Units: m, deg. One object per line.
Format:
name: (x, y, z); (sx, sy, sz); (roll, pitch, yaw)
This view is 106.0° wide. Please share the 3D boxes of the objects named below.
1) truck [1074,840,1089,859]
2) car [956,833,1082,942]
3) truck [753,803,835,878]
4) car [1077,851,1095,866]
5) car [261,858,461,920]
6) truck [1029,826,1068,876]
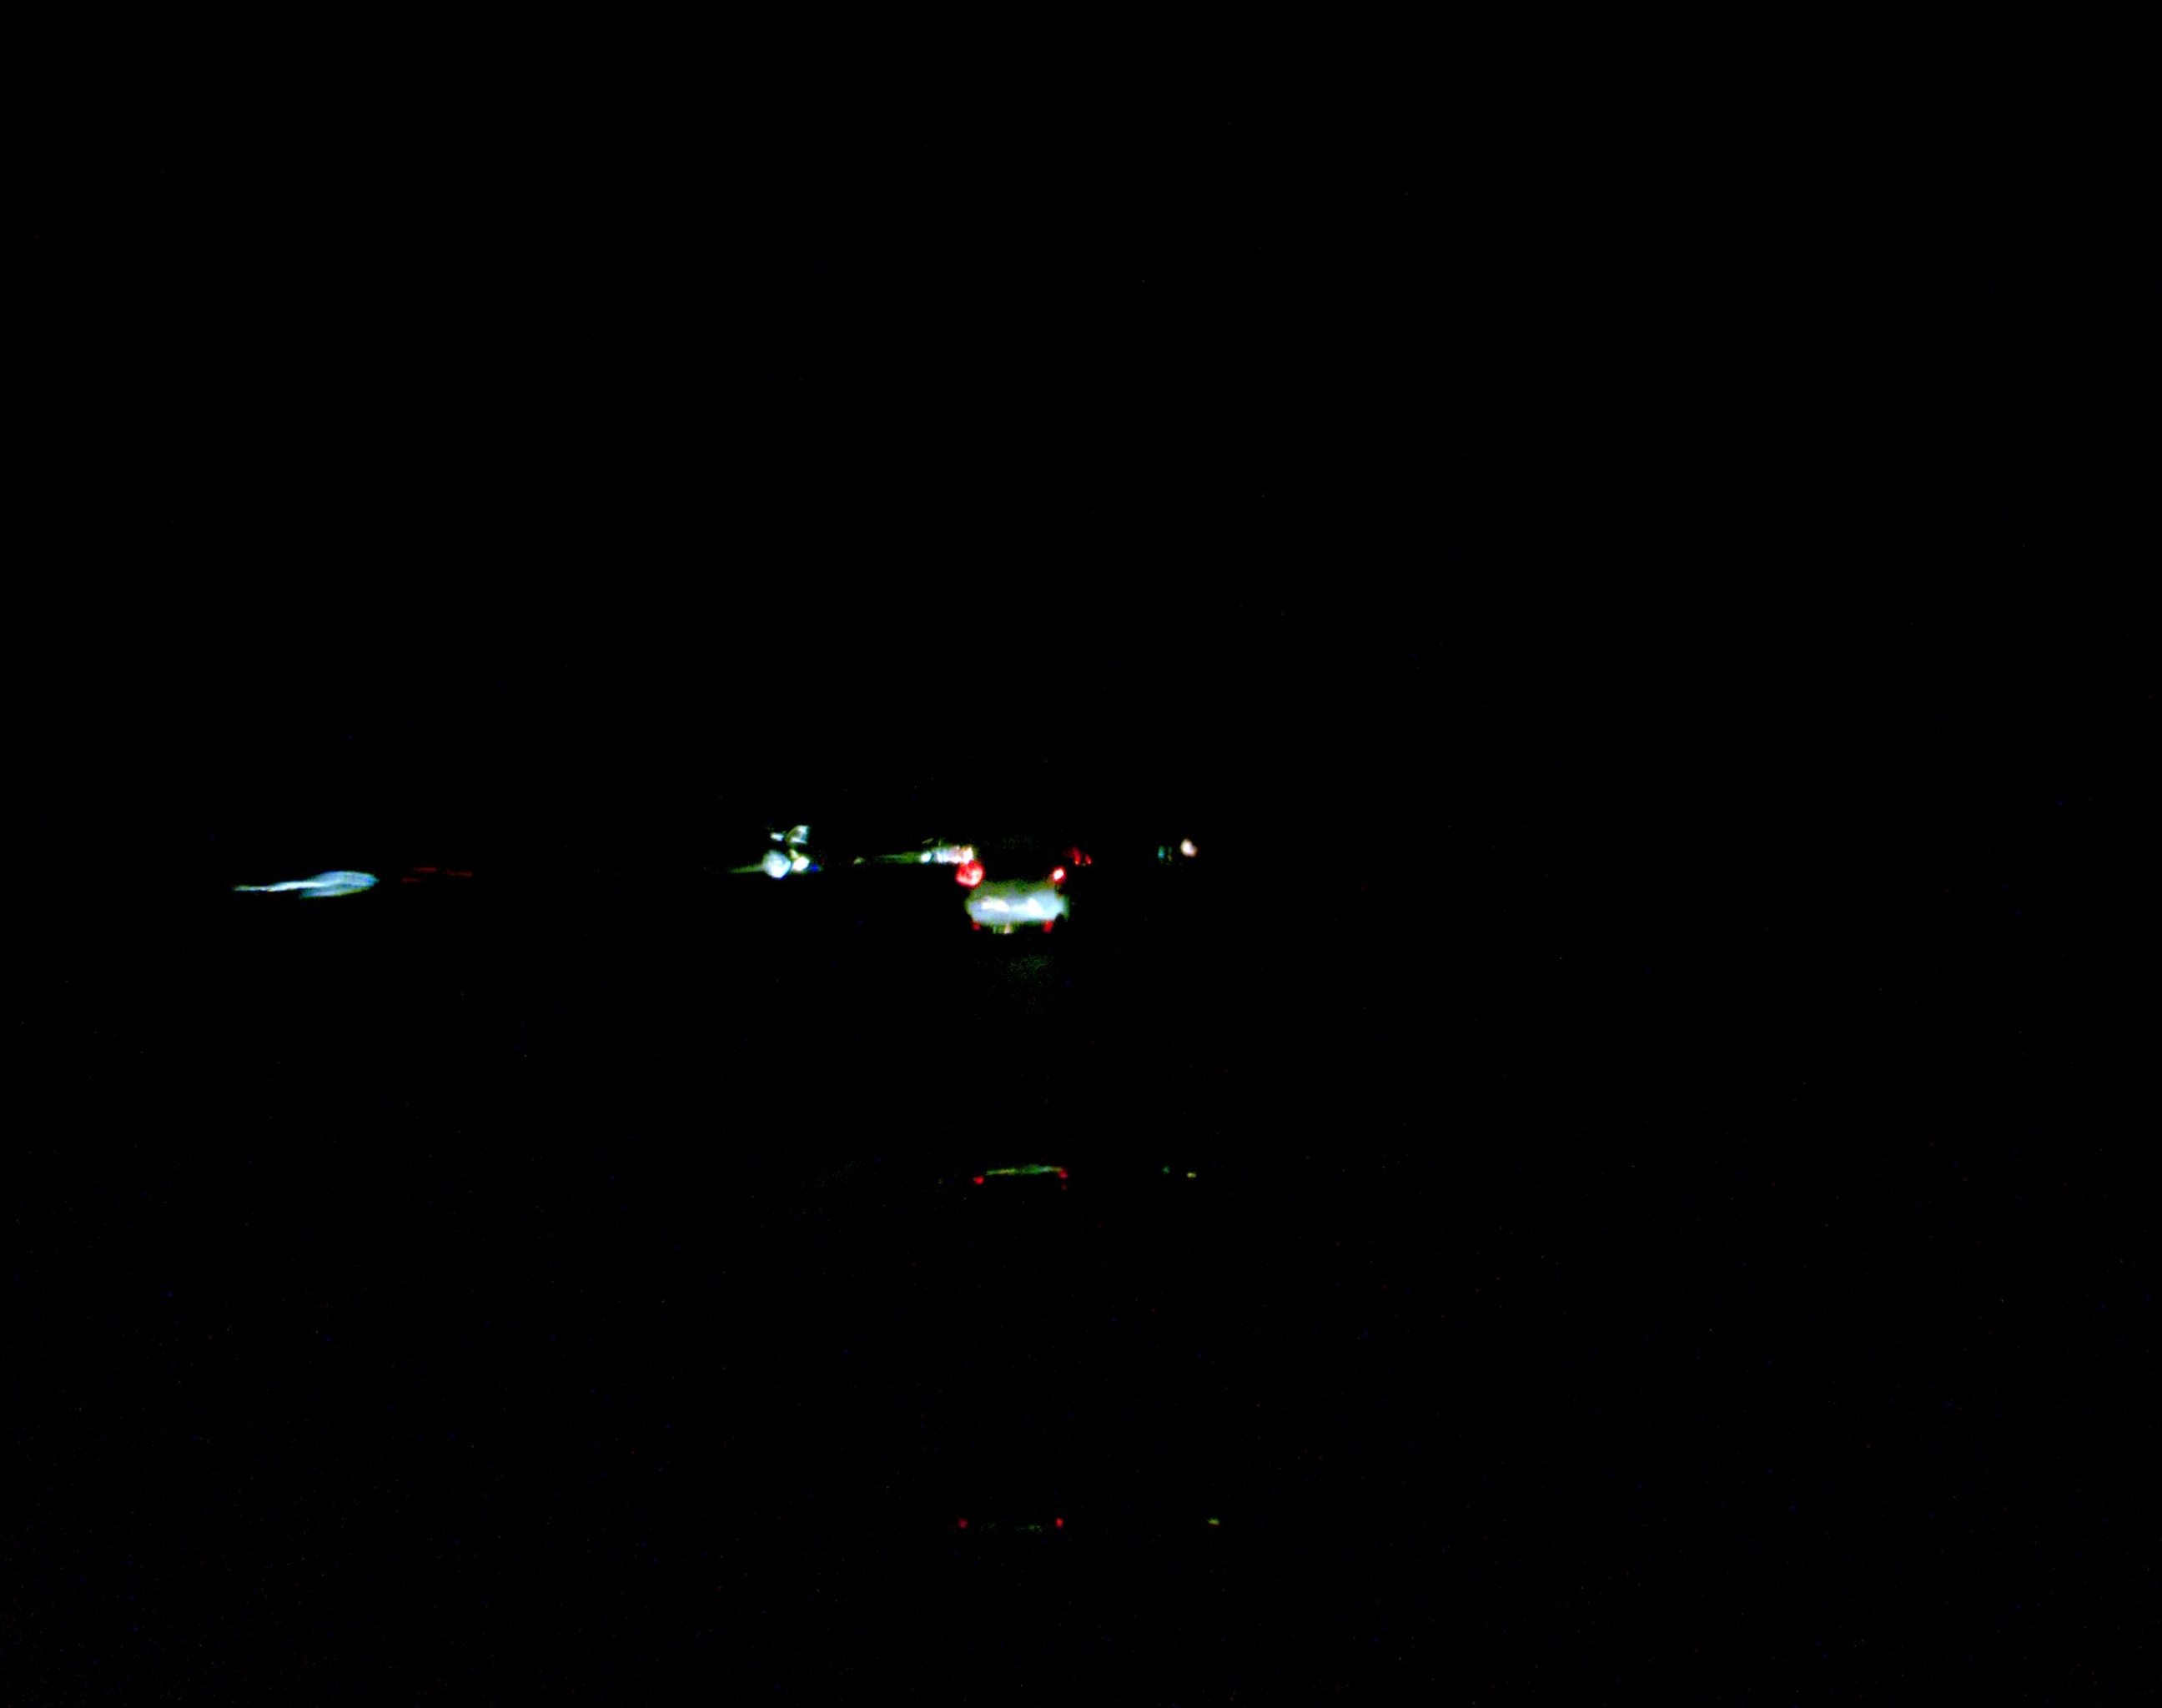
truck: (0.181, -1.076, 217.200); (3.812, 4.915, 11.601); (0, 0, -1)
car: (-1.020, 0.569, 16.028); (1.946, 1.792, 5.125); (0, 0, 1)
truck: (-24.429, -1.075, 69.807); (4.152, 6.128, 7.347); (0, 0, 2)
car: (0.525, 0.504, 93.698); (1.988, 1.707, 4.193); (0, 0, -1)
car: (-20.889, 0.950, 23.910); (1.986, 1.643, 4.254); (0, 0, 1)
truck: (-3.710, -0.275, 95.967); (4.155, 5.544, 13.069); (0, 0, -1)
